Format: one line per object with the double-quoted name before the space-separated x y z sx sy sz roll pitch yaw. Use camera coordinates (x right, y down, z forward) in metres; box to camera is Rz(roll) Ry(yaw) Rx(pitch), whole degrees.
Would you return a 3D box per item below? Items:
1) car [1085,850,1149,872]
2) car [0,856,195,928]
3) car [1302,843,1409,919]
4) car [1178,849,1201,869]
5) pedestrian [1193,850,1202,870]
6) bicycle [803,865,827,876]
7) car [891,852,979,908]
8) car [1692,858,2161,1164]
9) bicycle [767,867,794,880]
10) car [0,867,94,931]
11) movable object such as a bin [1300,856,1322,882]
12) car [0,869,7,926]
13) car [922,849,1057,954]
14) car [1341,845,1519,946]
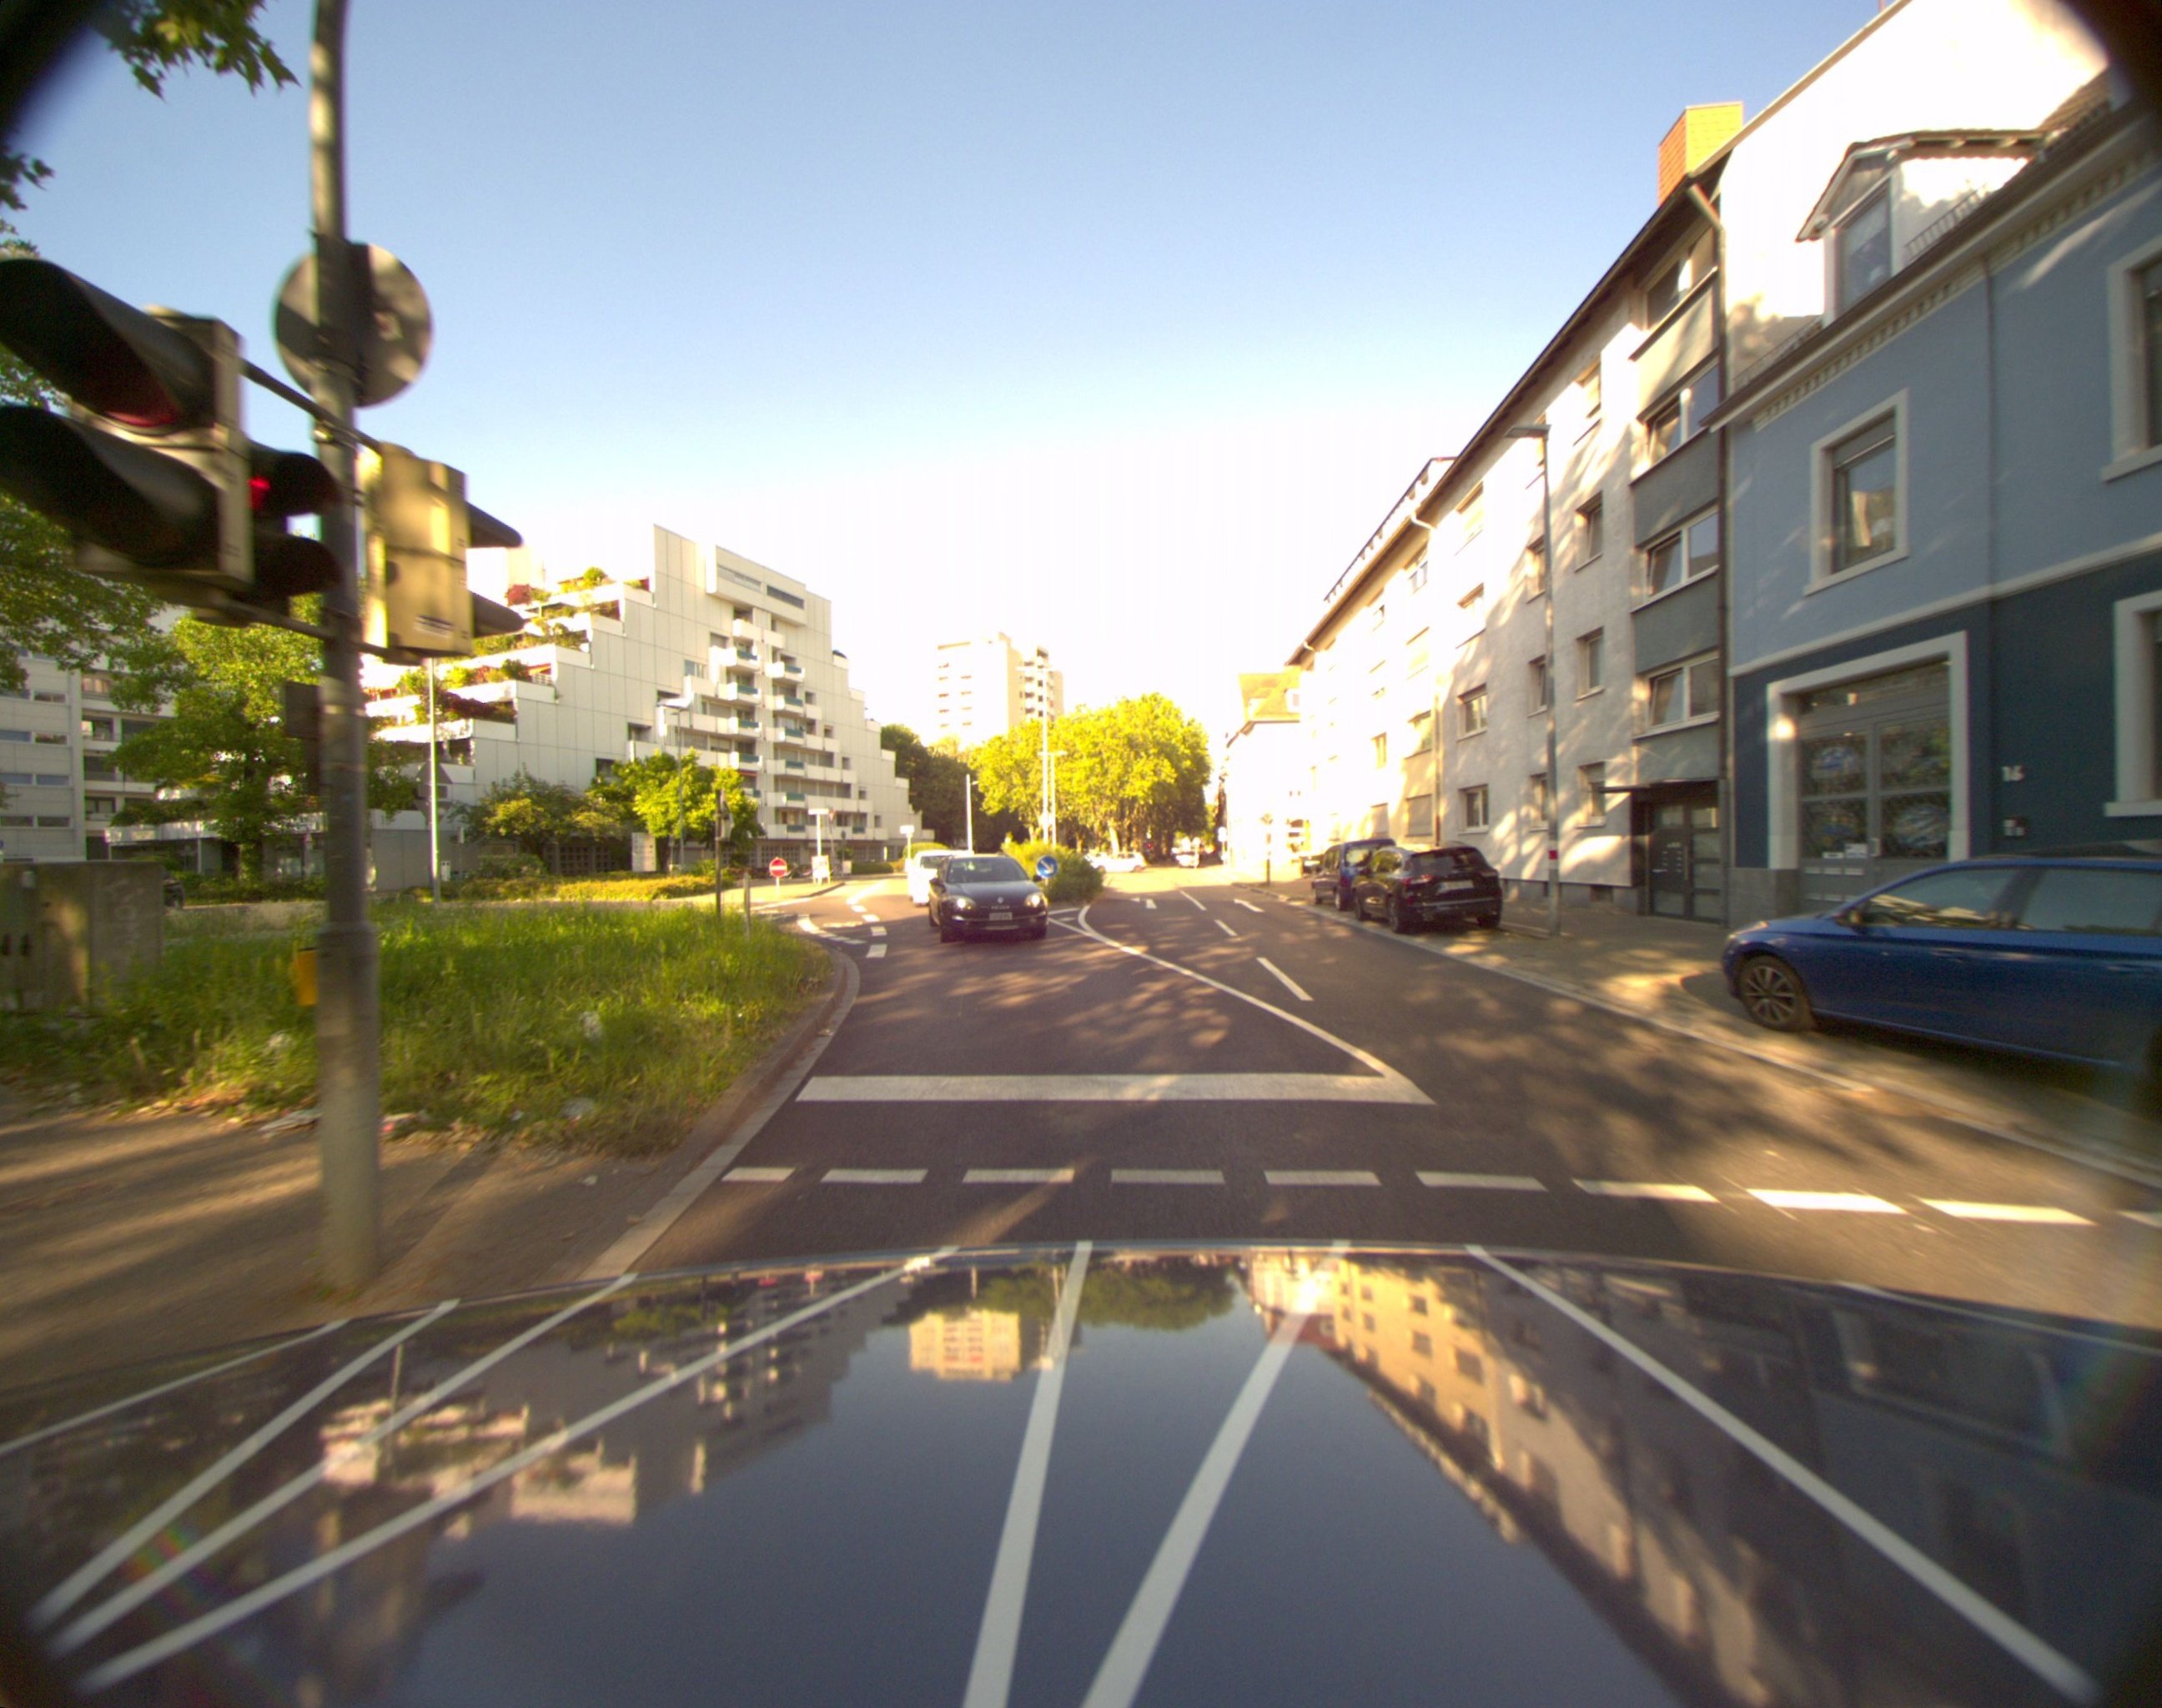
"car" 2.468 0.486 53.093 4.205 1.502 1.800 -1 0 -6
"car" -25.364 0.985 19.616 1.942 1.649 4.468 2 -3 -32
"car" 7.318 0.651 20.651 1.668 1.808 4.006 -3 0 5
"car" 9.987 0.428 70.213 1.897 1.782 4.001 0 0 5
"pedestrian" 9.950 0.523 64.825 0.672 1.702 0.714 0 0 13
"bicycle" -18.865 1.156 53.826 1.578 0.780 0.463 -1 1 -20
"car" -4.081 0.678 21.727 1.653 1.445 3.535 -1 0 3
"car" 6.411 0.823 4.848 1.654 1.478 4.263 -3 0 2
"bicycle" -20.691 1.326 52.306 0.463 0.833 1.704 0 0 38
"car" -27.945 1.141 19.439 1.831 1.577 4.360 2 -3 -32
"movable object such as a bin" 11.859 0.760 39.247 1.033 1.278 1.063 0 1 15
"car" -30.872 1.143 19.630 1.875 1.628 3.993 1 -3 -26
"car" -1.859 0.750 14.037 1.846 1.536 4.518 -3 0 -14
"car" 6.746 0.701 15.263 1.910 1.663 4.495 -3 0 7
